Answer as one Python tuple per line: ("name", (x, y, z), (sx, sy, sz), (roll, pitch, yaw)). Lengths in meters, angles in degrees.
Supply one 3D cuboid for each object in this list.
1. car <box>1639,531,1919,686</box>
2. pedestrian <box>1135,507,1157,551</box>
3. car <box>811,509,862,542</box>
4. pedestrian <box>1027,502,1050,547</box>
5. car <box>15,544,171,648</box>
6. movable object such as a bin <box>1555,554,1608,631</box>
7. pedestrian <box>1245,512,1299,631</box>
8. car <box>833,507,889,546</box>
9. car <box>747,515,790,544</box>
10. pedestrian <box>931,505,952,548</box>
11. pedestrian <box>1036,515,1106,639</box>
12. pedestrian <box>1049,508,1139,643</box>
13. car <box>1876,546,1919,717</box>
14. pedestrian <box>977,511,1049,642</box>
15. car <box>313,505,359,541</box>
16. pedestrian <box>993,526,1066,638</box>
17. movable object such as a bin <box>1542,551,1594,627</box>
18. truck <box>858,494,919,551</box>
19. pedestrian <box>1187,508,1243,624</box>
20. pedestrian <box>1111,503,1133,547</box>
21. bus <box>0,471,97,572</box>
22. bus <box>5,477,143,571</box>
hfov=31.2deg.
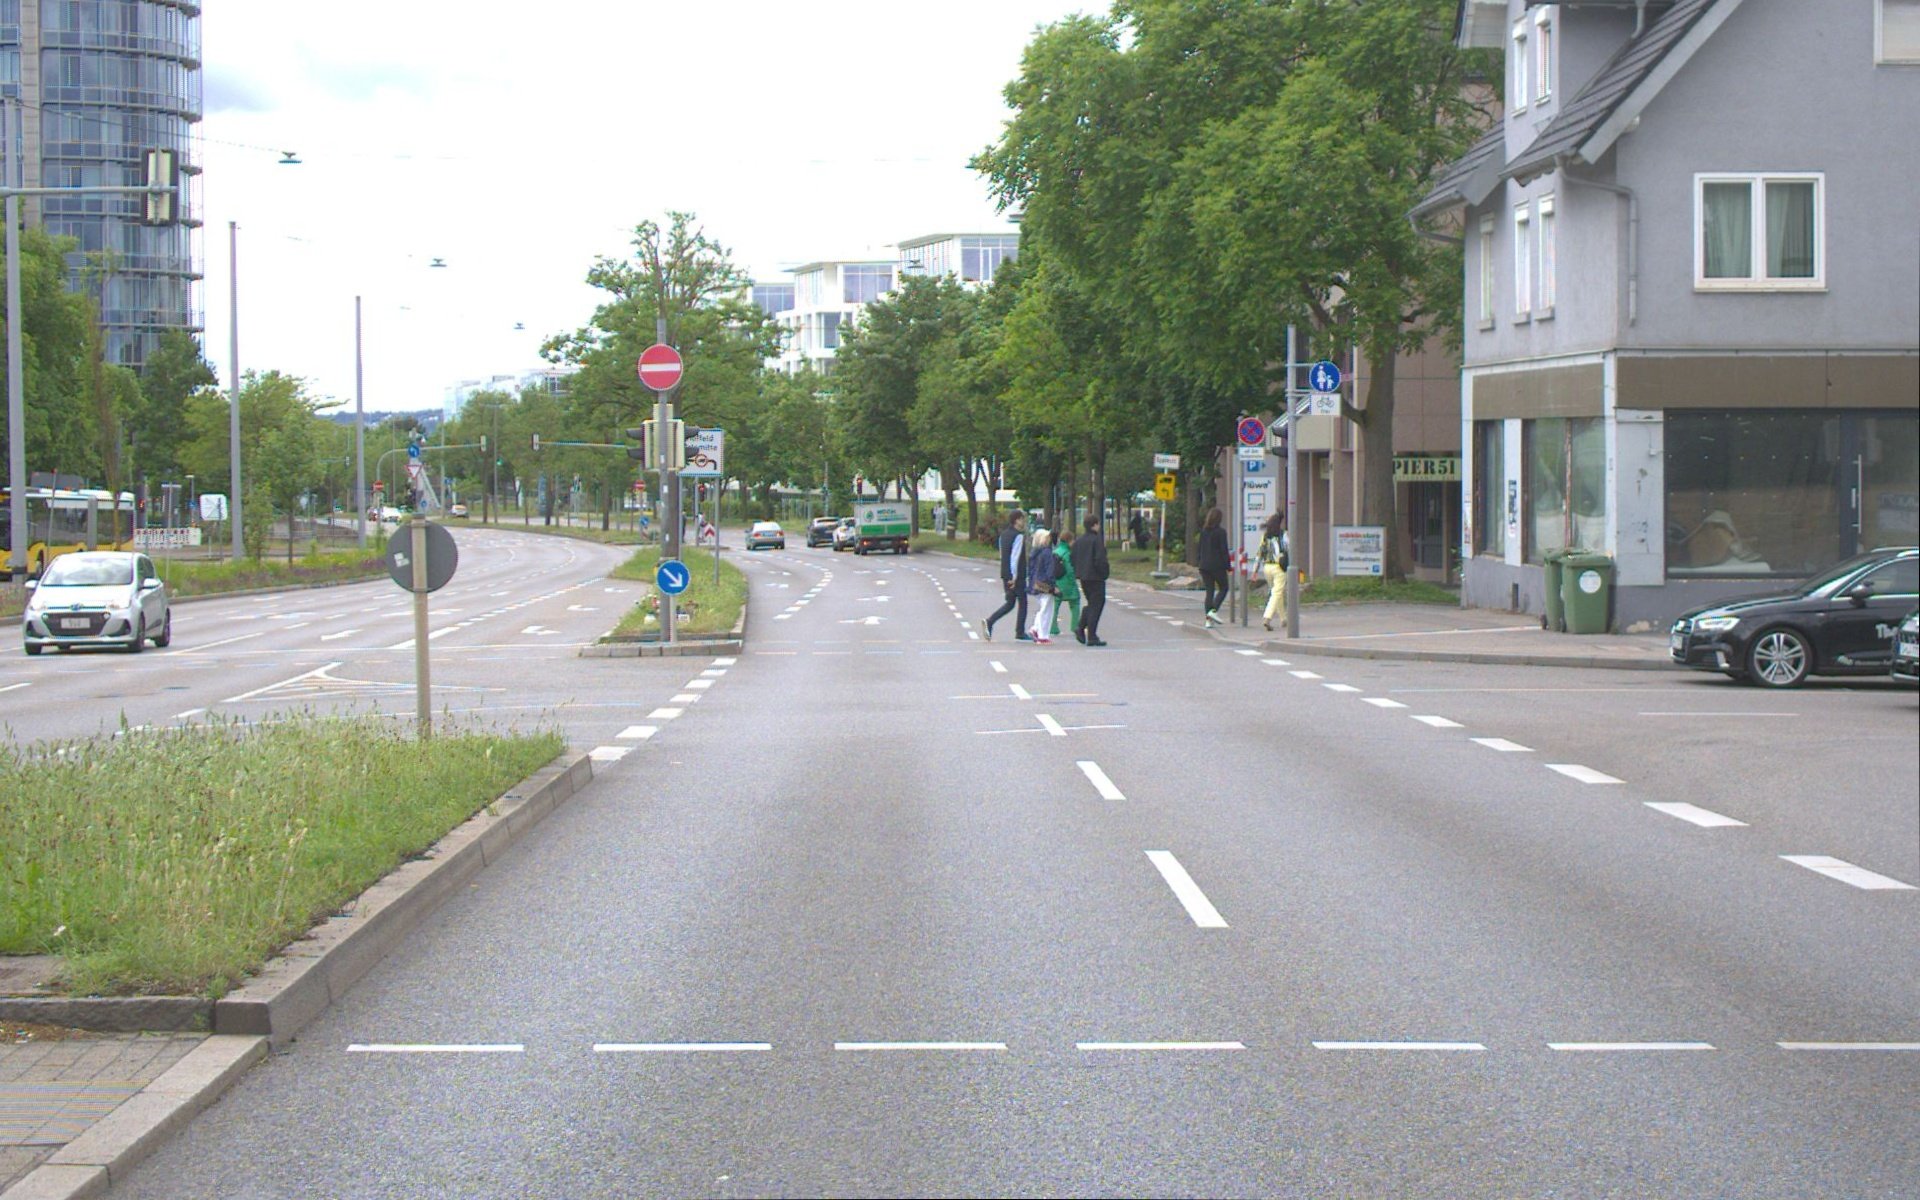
("car", (9.138, 0.050, 34.701), (4.084, 1.489, 1.896), (-1, 1, -6))
("pedestrian", (6.631, -2.540, 122.521), (0.650, 1.564, 0.671), (-1, 1, -8))
("car", (-6.266, -3.739, 173.522), (2.250, 1.641, 4.934), (-1, 1, -5))
("pedestrian", (3.522, -3.387, 154.757), (0.971, 2.007, 0.981), (1, 0, -1))
("car", (-12.805, -0.090, 50.927), (1.684, 1.457, 3.556), (-1, 1, -5))
("movable object such as a bin", (7.959, -0.102, 44.050), (0.529, 0.976, 0.736), (-1, 1, -1))
("pedestrian", (4.429, -0.409, 48.798), (0.705, 1.656, 0.870), (0, 1, 8))
("car", (-4.562, -3.358, 158.129), (2.251, 1.751, 4.934), (-1, 1, -5))
("car", (-9.579, -3.527, 172.039), (1.967, 1.415, 4.023), (-1, 1, -5))
("pedestrian", (-1.002, -3.943, 184.906), (0.930, 2.300, 1.011), (1, 0, -10))
("pedestrian", (1.604, -0.336, 49.758), (0.867, 1.773, 0.708), (-1, 1, -9))
("pedestrian", (1.771, -0.332, 45.457), (1.048, 1.754, 0.708), (-1, 1, -9))
("car", (10.573, 0.319, 30.964), (4.057, 1.516, 1.841), (1, 1, -9))
("pedestrian", (0.725, -0.328, 47.357), (0.867, 1.773, 0.708), (-1, 1, -9))
("car", (-36.328, -4.465, 200.264), (1.965, 2.007, 4.000), (1, 1, -1))
("pedestrian", (0.940, -0.250, 46.607), (0.867, 1.502, 0.708), (-1, 1, -9))
("movable object such as a bin", (7.931, -0.145, 44.840), (0.529, 0.976, 0.736), (-1, 1, -1))
("truck", (-3.113, -3.343, 148.275), (2.251, 2.408, 4.934), (-1, 1, -5))
("pedestrian", (3.679, -0.492, 49.491), (0.705, 1.656, 0.870), (0, 1, 10))
("pedestrian", (5.784, -2.672, 122.551), (0.650, 1.564, 0.671), (-1, 1, -8))
("bus", (-31.394, -2.569, 114.468), (3.144, 3.214, 10.286), (-1, 1, -3))
("bus", (-31.732, -2.710, 123.472), (3.144, 3.214, 7.766), (-1, 1, -2))
